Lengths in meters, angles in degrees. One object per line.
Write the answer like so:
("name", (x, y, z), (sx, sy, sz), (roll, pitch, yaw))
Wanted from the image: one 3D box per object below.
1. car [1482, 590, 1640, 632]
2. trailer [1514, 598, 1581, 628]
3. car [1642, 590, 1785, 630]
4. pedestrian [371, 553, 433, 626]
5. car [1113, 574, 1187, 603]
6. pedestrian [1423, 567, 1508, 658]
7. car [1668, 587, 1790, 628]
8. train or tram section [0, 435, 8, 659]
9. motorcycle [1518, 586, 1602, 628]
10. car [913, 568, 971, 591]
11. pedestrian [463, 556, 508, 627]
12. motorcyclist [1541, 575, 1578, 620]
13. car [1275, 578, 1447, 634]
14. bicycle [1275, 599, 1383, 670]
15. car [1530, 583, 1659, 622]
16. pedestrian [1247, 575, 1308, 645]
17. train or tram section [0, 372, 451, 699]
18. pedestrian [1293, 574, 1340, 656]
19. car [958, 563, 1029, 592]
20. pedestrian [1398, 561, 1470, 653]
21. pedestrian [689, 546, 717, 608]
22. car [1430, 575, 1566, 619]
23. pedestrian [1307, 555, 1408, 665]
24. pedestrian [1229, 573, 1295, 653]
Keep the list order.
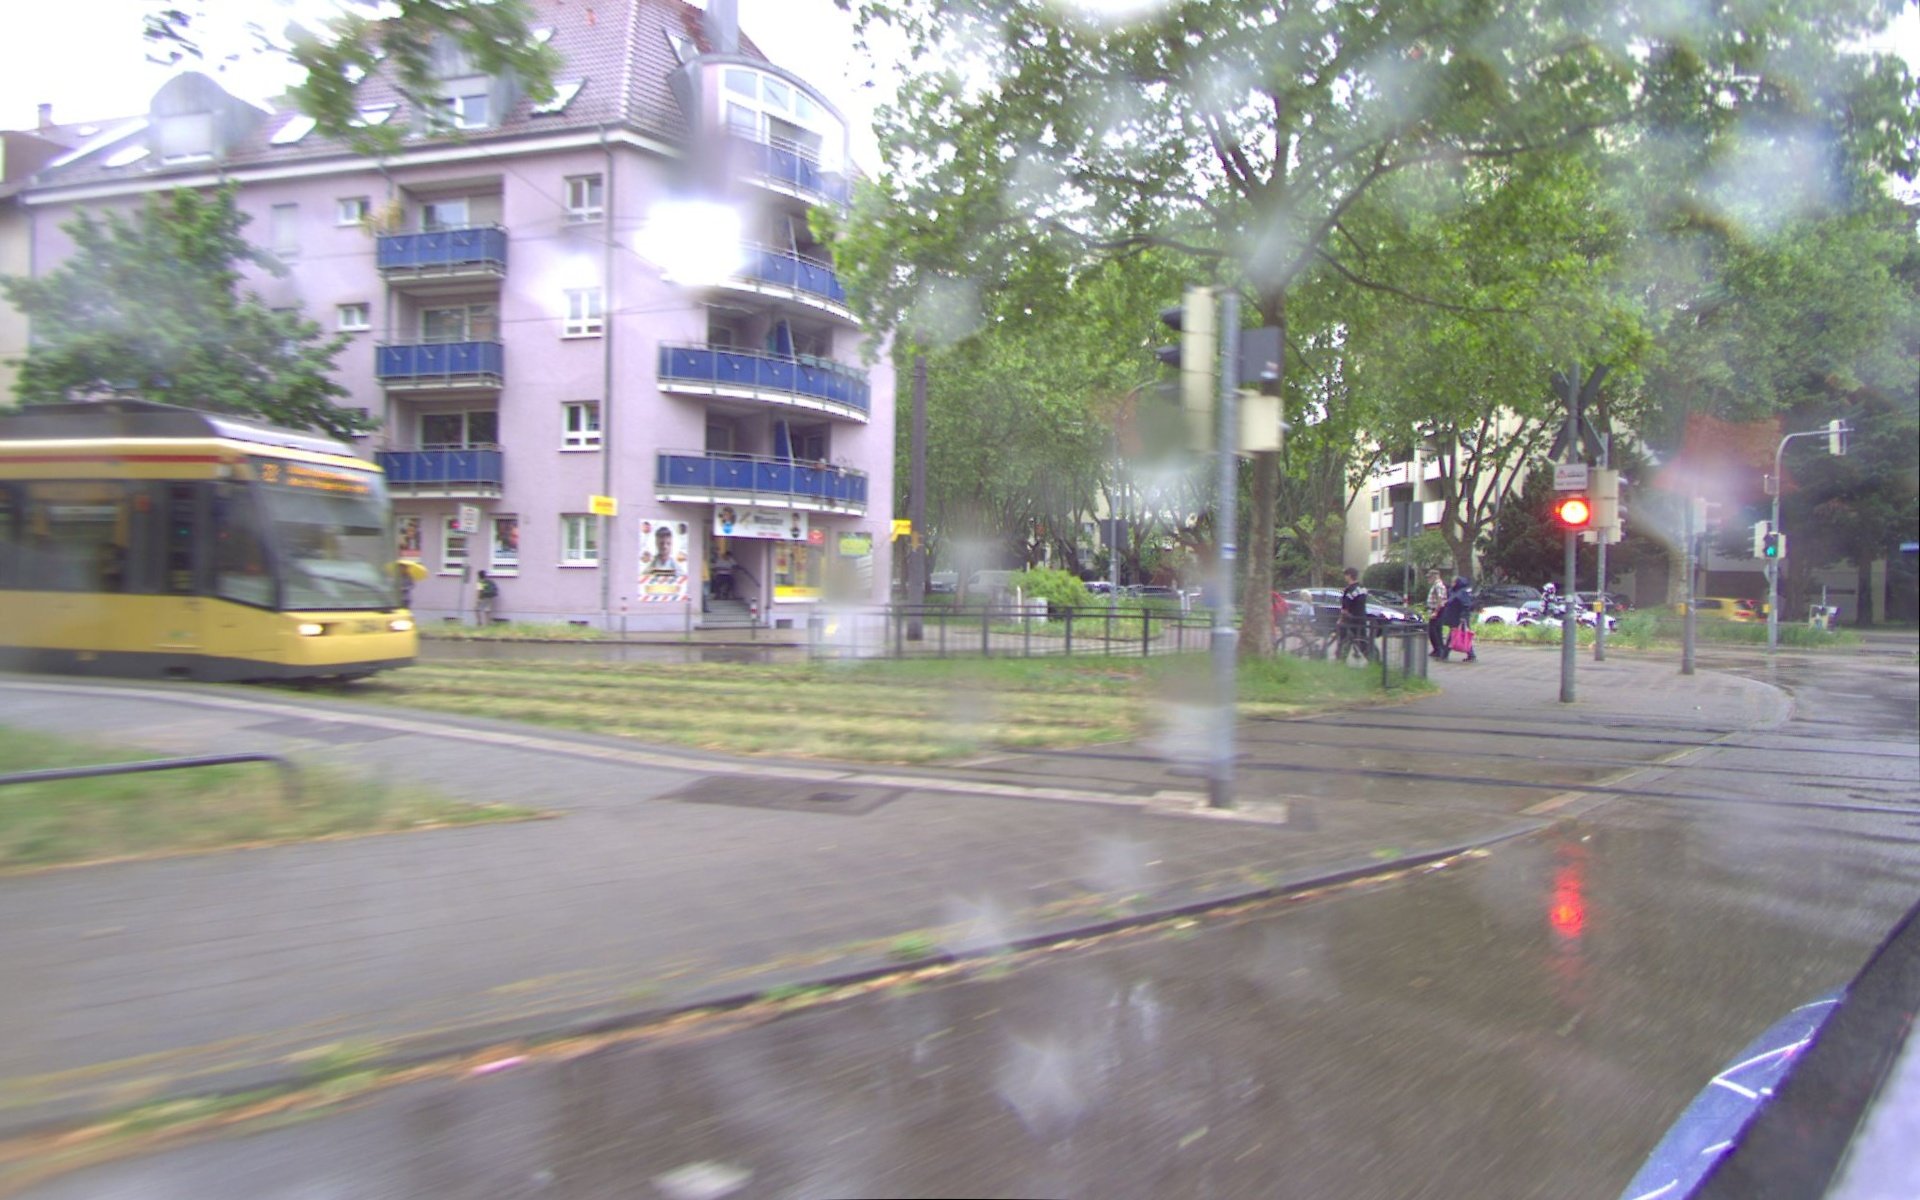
("car", (20.032, 0.324, 33.877), (1.869, 1.291, 4.167), (0, 1, -39))
("trailer", (17.872, 0.393, 30.789), (1.007, 0.852, 1.483), (0, 1, -34))
("car", (28.165, 0.350, 37.909), (1.965, 1.385, 3.994), (0, 1, -41))
("pedestrian", (-13.581, -0.270, 24.663), (0.907, 1.718, 0.952), (1, 1, 13))
("car", (11.325, -0.712, 60.490), (3.920, 1.675, 2.002), (1, 0, -5))
("pedestrian", (9.795, 0.220, 19.644), (0.975, 1.707, 1.058), (1, 1, -17))
("car", (30.579, 0.275, 40.338), (1.806, 1.544, 3.463), (0, 1, -32))
("train or tram section", (-18.840, -0.857, 15.262), (8.256, 3.393, 2.633), (1, 0, 15))
("motorcycle", (18.603, 0.205, 31.432), (0.864, 1.230, 2.075), (1, 1, -35))
("car", (-1.858, -2.152, 104.656), (5.529, 2.327, 2.222), (1, 0, 17))
("pedestrian", (-11.897, -0.221, 25.389), (0.674, 1.718, 0.821), (1, 1, 10))
("motorcyclist", (18.615, -0.076, 31.435), (0.743, 1.368, 0.755), (1, 0, -35))
("car", (11.392, 0.130, 28.984), (1.958, 1.479, 4.175), (1, 1, -38))
("bicycle", (6.057, 0.541, 16.661), (1.609, 1.090, 0.440), (1, 1, 37))
("car", (27.885, 0.094, 44.624), (1.901, 1.628, 4.460), (0, 1, -30))
("pedestrian", (6.606, 0.192, 21.087), (1.006, 1.399, 0.664), (2, 1, 40))
("train or tram section", (-10.914, -0.743, 12.997), (8.259, 3.412, 2.633), (1, 0, 16))
("pedestrian", (7.026, 0.279, 19.949), (0.754, 1.567, 0.686), (2, 1, 27))
("car", (2.834, -1.906, 85.591), (5.535, 2.431, 2.219), (1, 0, 20))
("pedestrian", (9.653, 0.127, 20.635), (0.795, 1.803, 0.996), (1, 1, -28))
("pedestrian", (-6.843, -0.608, 26.941), (0.591, 1.622, 0.466), (1, 0, 40))
("car", (21.575, -0.116, 40.711), (4.510, 1.685, 1.877), (1, 0, -5))
("pedestrian", (6.789, 0.154, 17.334), (1.016, 1.811, 1.239), (1, 1, -20))
("pedestrian", (6.120, 0.242, 20.525), (1.057, 1.544, 0.868), (2, 1, 34))
